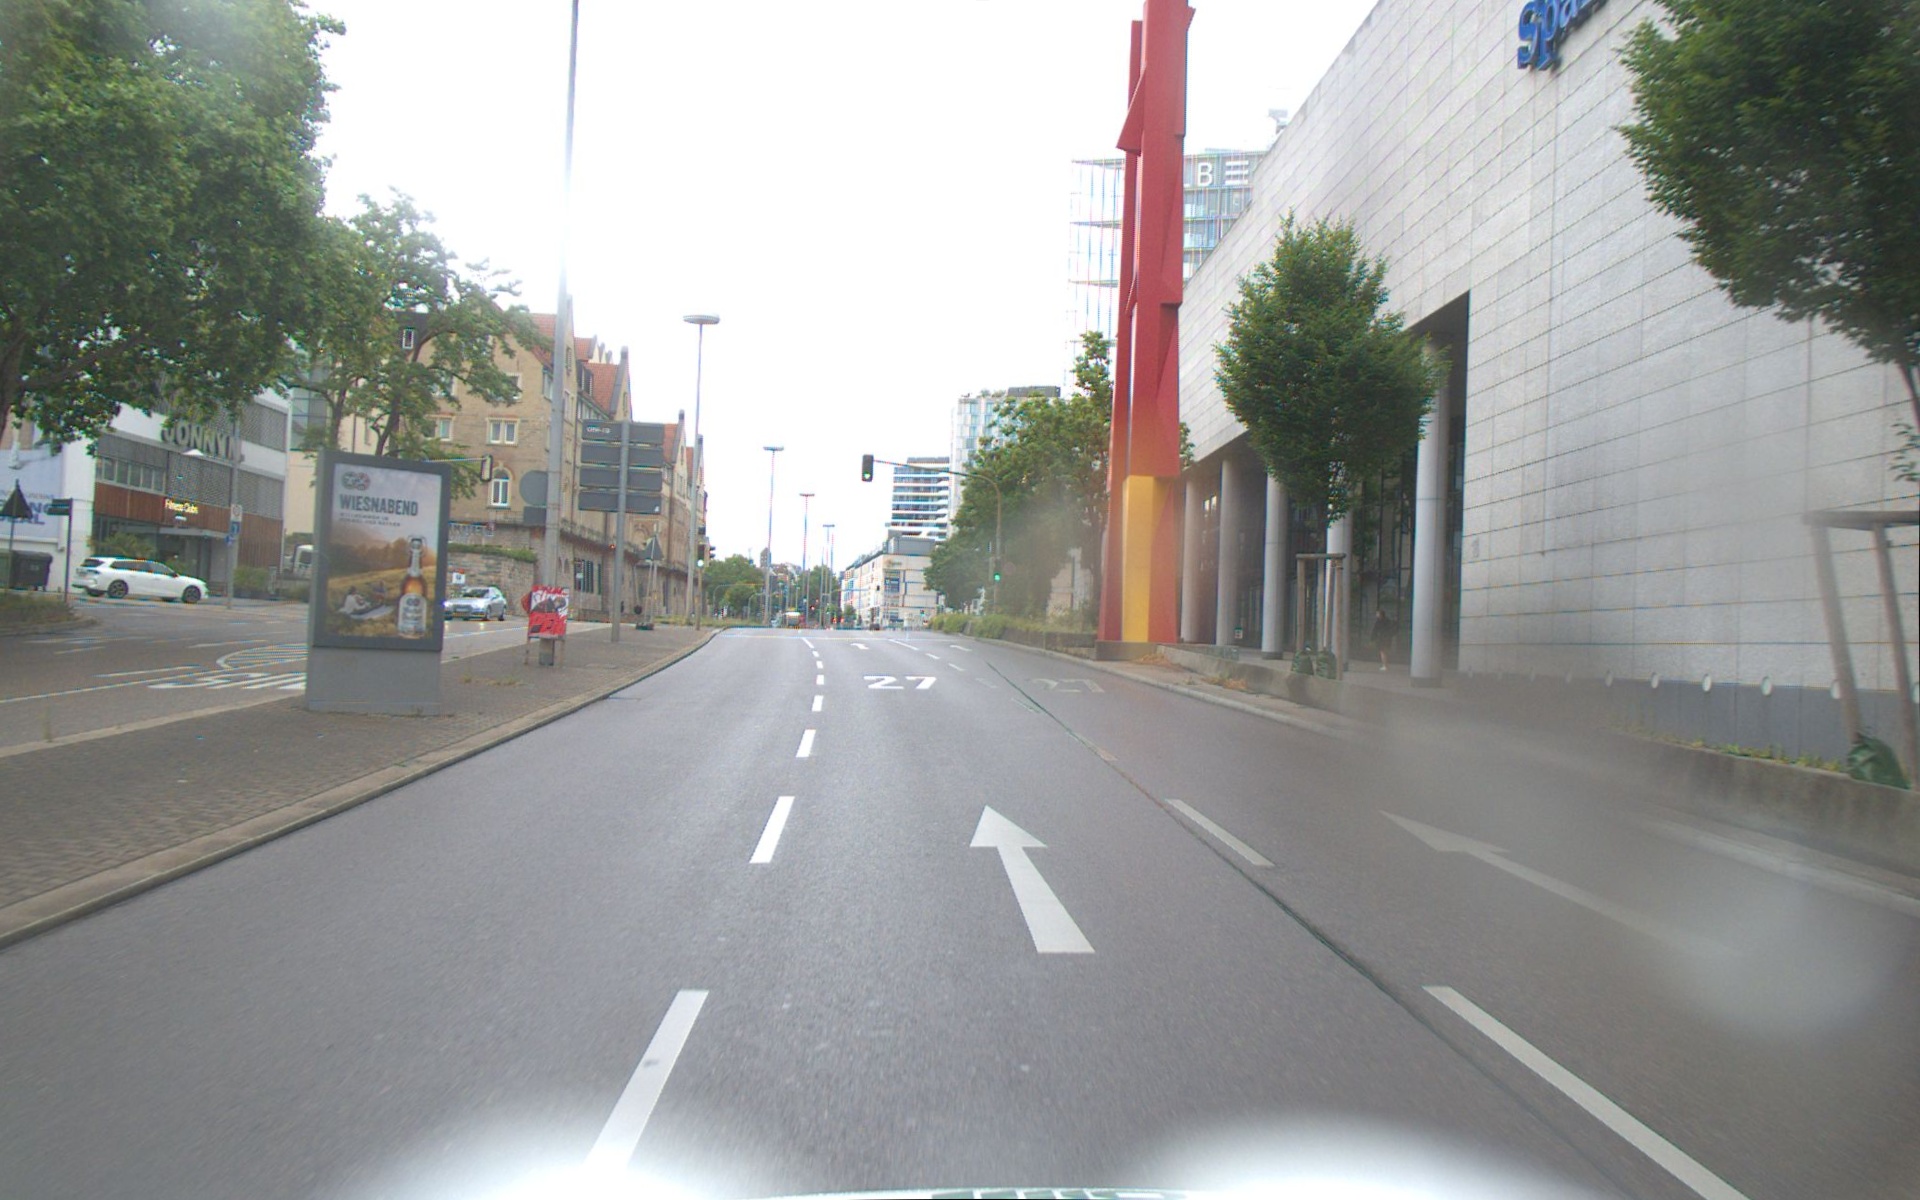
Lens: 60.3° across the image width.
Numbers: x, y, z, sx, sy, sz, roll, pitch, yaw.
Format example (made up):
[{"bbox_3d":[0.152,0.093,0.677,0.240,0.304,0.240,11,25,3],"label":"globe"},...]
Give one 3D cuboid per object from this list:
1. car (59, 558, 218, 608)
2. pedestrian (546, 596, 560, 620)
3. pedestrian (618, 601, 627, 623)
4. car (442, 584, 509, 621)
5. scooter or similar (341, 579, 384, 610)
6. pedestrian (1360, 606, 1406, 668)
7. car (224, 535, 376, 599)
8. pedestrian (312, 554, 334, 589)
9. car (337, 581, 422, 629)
[{"bbox_3d":[-29.948,-0.601,60.434,1.961,1.682,4.825,3,1,36],"label":"car"},{"bbox_3d":[-25.424,0.518,103.362,0.739,1.504,0.713,1,0,-3],"label":"pedestrian"},{"bbox_3d":[-27.118,0.971,132.968,0.628,1.776,0.620,1,0,-4],"label":"pedestrian"},{"bbox_3d":[-20.318,0.115,69.492,1.956,1.472,4.873,1,0,-8],"label":"car"},{"bbox_3d":[-27.323,-0.247,75.630,1.733,1.269,0.366,6,-3,-32],"label":"scooter or similar"},{"bbox_3d":[11.350,0.984,44.437,0.951,1.614,0.841,1,0,-6],"label":"pedestrian"},{"bbox_3d":[-34.927,-1.751,87.677,6.769,2.313,2.514,9,2,-2],"label":"car"},{"bbox_3d":[-31.053,-1.371,80.613,0.753,1.670,0.841,1,0,-3],"label":"pedestrian"},{"bbox_3d":[-19.614,0.146,56.009,1.720,1.545,4.166,1,0,-5],"label":"car"}]
